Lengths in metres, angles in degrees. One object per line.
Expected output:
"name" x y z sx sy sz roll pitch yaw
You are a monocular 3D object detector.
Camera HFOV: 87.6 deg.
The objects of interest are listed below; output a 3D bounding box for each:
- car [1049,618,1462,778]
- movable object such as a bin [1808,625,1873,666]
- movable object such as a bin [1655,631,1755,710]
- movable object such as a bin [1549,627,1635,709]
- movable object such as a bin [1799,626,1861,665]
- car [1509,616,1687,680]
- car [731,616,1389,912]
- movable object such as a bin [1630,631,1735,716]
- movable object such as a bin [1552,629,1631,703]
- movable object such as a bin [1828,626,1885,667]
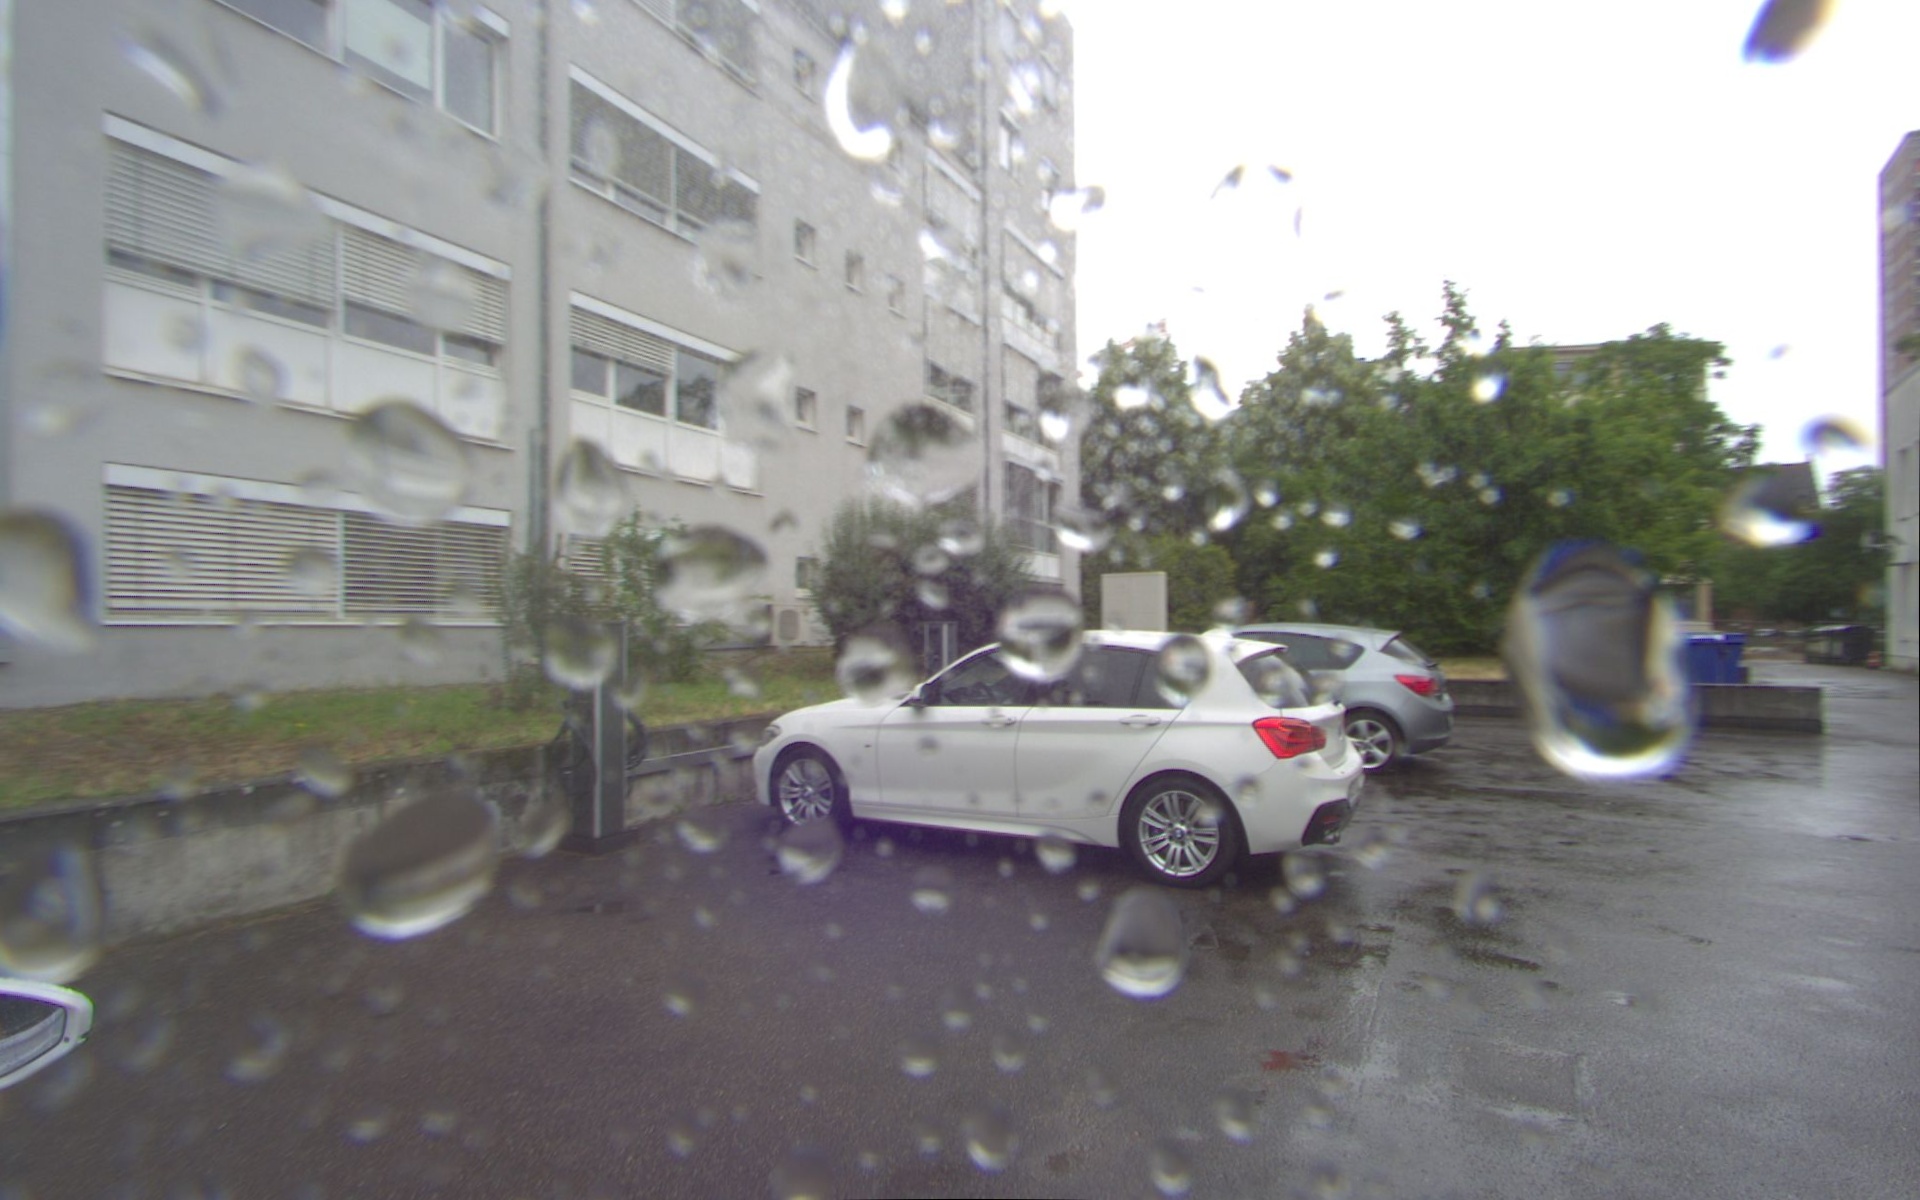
"car" 3.308 0.999 11.329 4.157 1.508 1.992 -1 -2 29
"movable object such as a bin" 32.500 1.703 36.999 1.470 1.466 1.310 -2 -4 28
"movable object such as a bin" 13.859 1.321 18.708 1.295 1.374 1.896 -2 -4 32
"movable object such as a bin" 11.373 1.232 18.051 1.216 1.374 1.962 -2 -4 32
"movable object such as a bin" 33.133 1.753 38.184 1.470 1.466 1.310 -2 -4 28
"car" 20.395 1.600 32.152 4.636 1.904 2.112 -3 -5 35
"car" 0.650 0.911 7.017 4.157 1.508 1.992 -1 -2 29
"movable object such as a bin" 12.443 1.271 17.335 1.295 1.374 1.896 -2 -4 32
"movable object such as a bin" 12.429 1.302 19.736 1.216 1.374 1.962 -2 -4 32
"movable object such as a bin" 31.815 1.675 35.555 1.170 1.390 1.310 -2 -4 28
